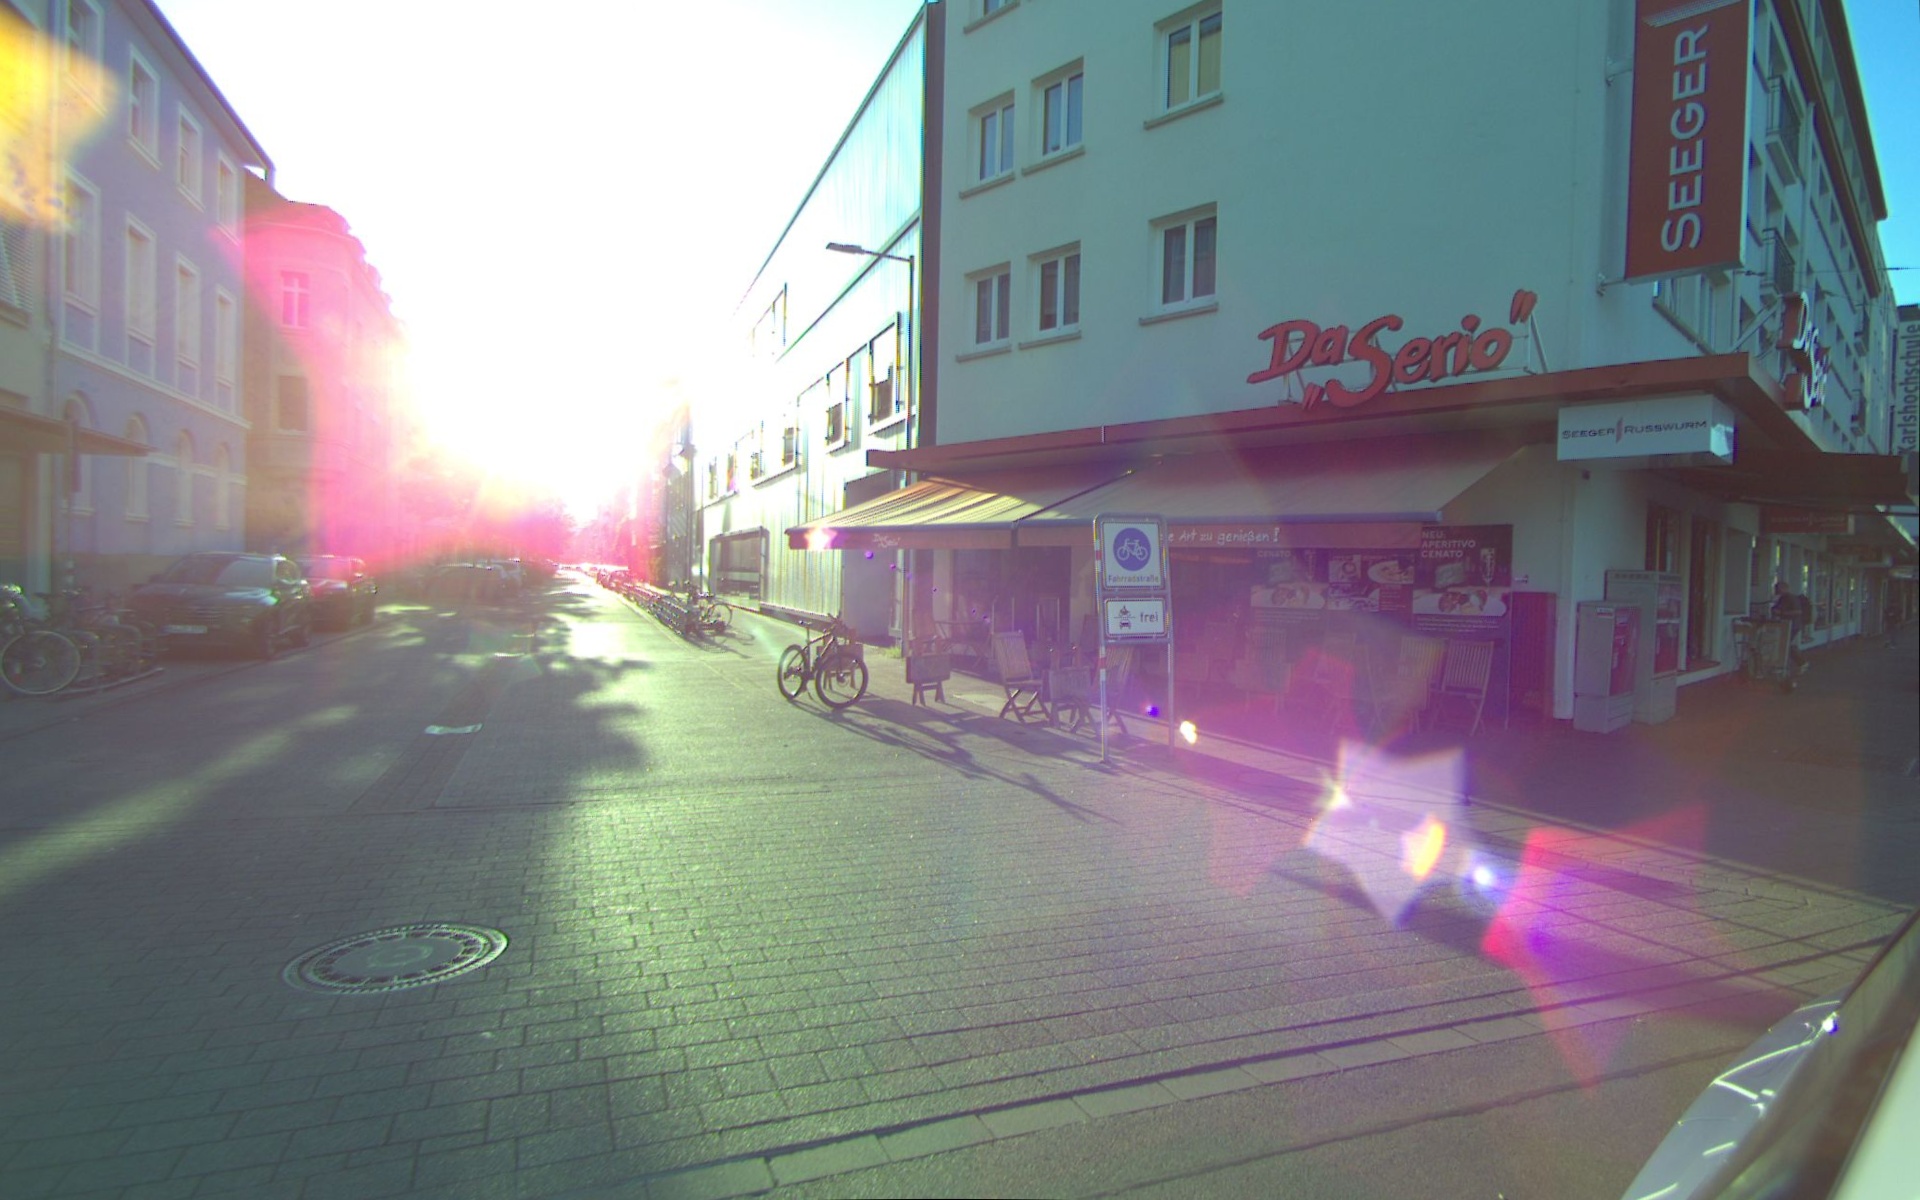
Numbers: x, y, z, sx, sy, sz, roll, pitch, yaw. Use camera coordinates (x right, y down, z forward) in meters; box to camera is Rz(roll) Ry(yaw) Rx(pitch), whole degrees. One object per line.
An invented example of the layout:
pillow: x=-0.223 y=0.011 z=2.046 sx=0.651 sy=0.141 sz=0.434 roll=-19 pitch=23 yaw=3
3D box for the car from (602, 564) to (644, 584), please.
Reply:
car: x=-22.331 y=-1.706 z=67.120 sx=2.632 sy=1.262 sz=1.452 roll=0 pitch=0 yaw=-19

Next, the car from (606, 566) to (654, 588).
car: x=-19.288 y=-1.329 z=59.151 sx=2.632 sy=1.262 sz=1.452 roll=0 pitch=0 yaw=-19

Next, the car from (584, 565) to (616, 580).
car: x=-31.543 y=-2.431 z=88.702 sx=2.632 sy=1.262 sz=1.406 roll=0 pitch=0 yaw=-22

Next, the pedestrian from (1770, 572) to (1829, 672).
pedestrian: x=16.555 y=0.409 z=19.961 sx=0.774 sy=1.903 sz=0.920 roll=3 pitch=2 yaw=44

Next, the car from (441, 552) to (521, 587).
car: x=-28.582 y=-1.773 z=60.418 sx=1.858 sy=2.001 sz=3.941 roll=0 pitch=1 yaw=41

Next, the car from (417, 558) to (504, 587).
car: x=-28.085 y=-1.546 z=56.992 sx=1.992 sy=1.526 sz=3.941 roll=3 pitch=2 yaw=41

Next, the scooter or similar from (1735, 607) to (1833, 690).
scooter or similar: x=13.289 y=0.756 z=16.369 sx=0.329 sy=1.208 sz=1.439 roll=2 pitch=2 yaw=-1

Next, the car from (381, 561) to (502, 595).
car: x=-21.720 y=-0.909 z=42.537 sx=1.983 sy=1.362 sz=4.109 roll=0 pitch=1 yaw=30

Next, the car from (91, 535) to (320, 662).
car: x=-12.275 y=-0.060 z=16.831 sx=1.879 sy=1.773 sz=4.448 roll=3 pitch=0 yaw=-22

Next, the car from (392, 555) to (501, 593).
car: x=-23.013 y=-1.152 z=45.460 sx=1.992 sy=1.638 sz=3.941 roll=3 pitch=2 yaw=41

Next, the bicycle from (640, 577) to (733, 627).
bicycle: x=-7.246 y=0.042 z=26.868 sx=2.296 sy=1.247 sz=0.606 roll=-1 pitch=2 yaw=-27

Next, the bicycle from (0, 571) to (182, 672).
bicycle: x=-10.825 y=0.267 z=12.420 sx=1.880 sy=1.127 sz=0.629 roll=4 pitch=-2 yaw=-27

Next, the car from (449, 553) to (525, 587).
car: x=-29.619 y=-1.835 z=63.438 sx=1.837 sy=2.039 sz=3.941 roll=0 pitch=1 yaw=41

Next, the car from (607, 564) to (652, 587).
car: x=-20.394 y=-1.506 z=62.445 sx=2.632 sy=1.377 sz=1.452 roll=0 pitch=0 yaw=-19

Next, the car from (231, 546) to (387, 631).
car: x=-14.841 y=-0.296 z=23.342 sx=1.958 sy=1.641 sz=4.273 roll=5 pitch=0 yaw=-19

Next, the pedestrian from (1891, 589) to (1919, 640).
pedestrian: x=30.668 y=0.454 z=32.743 sx=0.733 sy=1.593 sz=0.951 roll=2 pitch=1 yaw=45

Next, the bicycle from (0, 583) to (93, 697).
bicycle: x=-10.108 y=0.381 z=10.185 sx=1.965 sy=1.127 sz=0.586 roll=3 pitch=0 yaw=-27

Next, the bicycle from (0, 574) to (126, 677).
bicycle: x=-10.648 y=0.280 z=11.360 sx=1.881 sy=1.127 sz=0.629 roll=0 pitch=0 yaw=-27

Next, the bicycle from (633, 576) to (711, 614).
bicycle: x=-9.013 y=-0.158 z=31.759 sx=2.296 sy=1.154 sz=0.529 roll=0 pitch=0 yaw=-27

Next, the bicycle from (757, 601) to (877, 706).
bicycle: x=-1.826 y=0.627 z=12.704 sx=0.527 sy=1.173 sz=1.907 roll=0 pitch=2 yaw=-41

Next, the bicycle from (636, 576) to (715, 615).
bicycle: x=-8.759 y=-0.150 z=31.232 sx=2.296 sy=1.159 sz=0.529 roll=0 pitch=1 yaw=-27

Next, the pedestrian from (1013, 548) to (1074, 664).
pedestrian: x=1.383 y=0.087 z=16.637 sx=0.711 sy=1.848 sz=0.753 roll=0 pitch=1 yaw=33

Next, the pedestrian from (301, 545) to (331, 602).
pedestrian: x=-20.178 y=-0.826 z=31.729 sx=0.658 sy=1.731 sz=0.715 roll=1 pitch=1 yaw=-24
